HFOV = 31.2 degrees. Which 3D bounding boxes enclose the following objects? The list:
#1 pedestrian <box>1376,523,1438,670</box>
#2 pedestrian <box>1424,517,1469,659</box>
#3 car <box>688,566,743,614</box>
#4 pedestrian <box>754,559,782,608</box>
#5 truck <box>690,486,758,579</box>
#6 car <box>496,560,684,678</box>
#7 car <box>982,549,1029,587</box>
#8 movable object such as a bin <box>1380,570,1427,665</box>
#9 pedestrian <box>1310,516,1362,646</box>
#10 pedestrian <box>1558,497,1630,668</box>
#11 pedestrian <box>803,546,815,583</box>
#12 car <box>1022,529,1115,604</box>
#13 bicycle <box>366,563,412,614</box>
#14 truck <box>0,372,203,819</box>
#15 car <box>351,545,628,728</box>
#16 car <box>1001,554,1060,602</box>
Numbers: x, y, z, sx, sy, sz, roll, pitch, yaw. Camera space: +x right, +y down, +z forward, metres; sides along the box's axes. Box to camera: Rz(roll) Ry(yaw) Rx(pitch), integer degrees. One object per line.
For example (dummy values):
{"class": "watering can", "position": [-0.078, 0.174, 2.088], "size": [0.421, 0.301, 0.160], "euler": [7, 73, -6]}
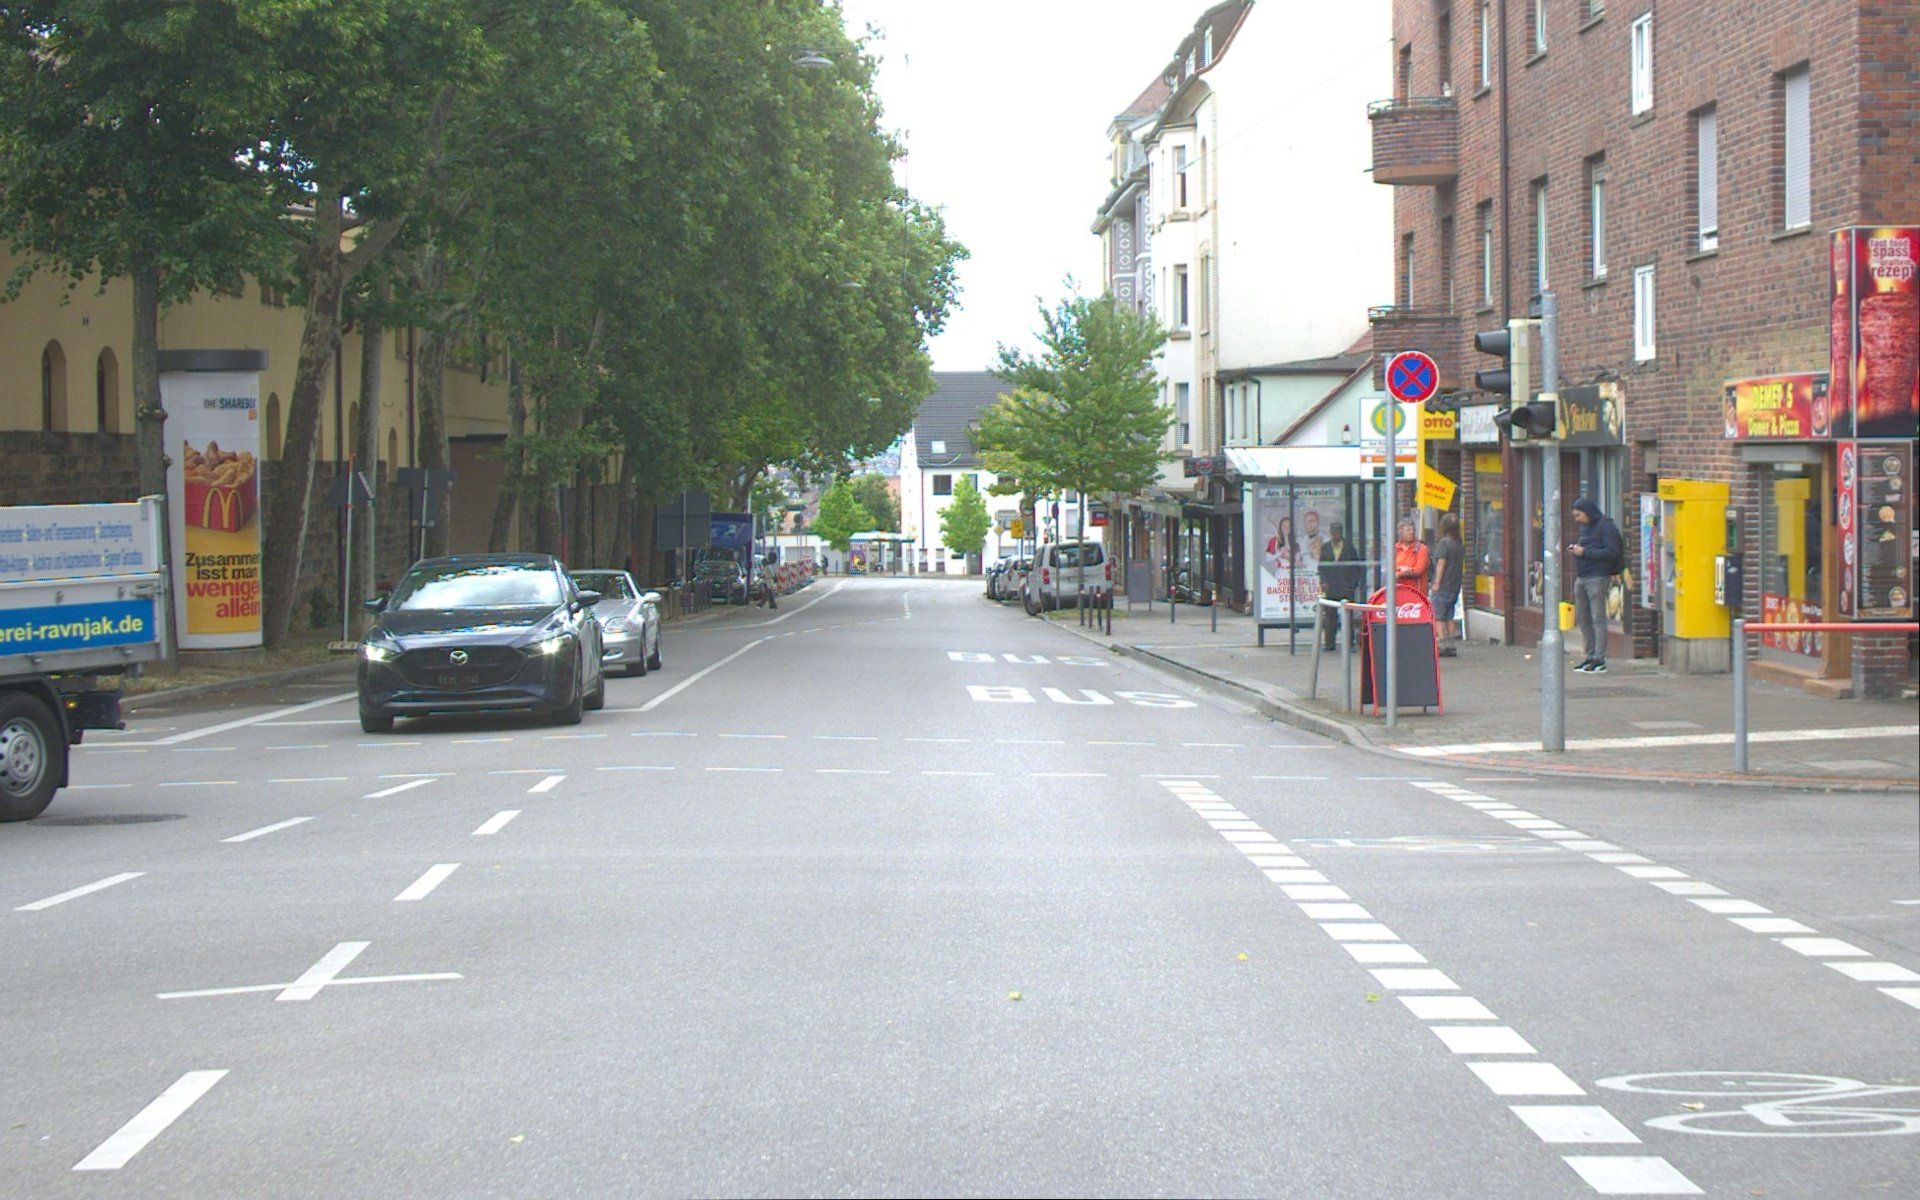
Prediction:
{"class": "pedestrian", "position": [5.012, -0.041, 38.524], "size": [0.565, 1.631, 0.680], "euler": [0, 1, 19]}
{"class": "pedestrian", "position": [6.021, -0.150, 42.573], "size": [0.479, 1.759, 0.458], "euler": [0, 0, -1]}
{"class": "car", "position": [-8.330, -0.359, 117.517], "size": [1.834, 1.572, 3.757], "euler": [0, 1, -4]}
{"class": "pedestrian", "position": [-6.043, -0.515, 108.138], "size": [0.672, 1.531, 0.611], "euler": [-1, 1, -32]}
{"class": "truck", "position": [-8.665, -2.473, 126.861], "size": [2.230, 3.335, 7.450], "euler": [0, 1, -2]}
{"class": "car", "position": [-4.381, 0.209, 41.236], "size": [1.685, 1.271, 4.095], "euler": [-3, 0, 1]}
{"class": "car", "position": [1.904, -1.356, 144.250], "size": [1.668, 1.542, 3.757], "euler": [0, 1, -4]}
{"class": "movable object such as a bin", "position": [4.926, 0.192, 38.177], "size": [0.453, 1.053, 0.410], "euler": [0, 1, 19]}
{"class": "pedestrian", "position": [5.041, -0.254, 46.066], "size": [0.670, 1.722, 0.763], "euler": [0, 1, 5]}
{"class": "pedestrian", "position": [6.561, -0.185, 35.593], "size": [0.647, 1.744, 0.778], "euler": [0, 1, 4]}
{"class": "pedestrian", "position": [-8.351, -1.965, 190.200], "size": [0.633, 2.007, 0.784], "euler": [0, 1, 1]}
{"class": "car", "position": [2.848, -0.901, 91.025], "size": [1.993, 1.929, 4.919], "euler": [0, 1, -4]}
{"class": "bicycle", "position": [-12.694, -0.267, 76.436], "size": [0.596, 1.087, 2.195], "euler": [2, 1, 1]}
{"class": "truck", "position": [-6.874, 0.034, 17.752], "size": [2.298, 2.419, 6.403], "euler": [-1, 1, 25]}
{"class": "car", "position": [-3.943, 0.259, 29.414], "size": [1.703, 1.409, 4.192], "euler": [-1, 1, 1]}
{"class": "car", "position": [2.337, -0.747, 114.472], "size": [1.668, 1.542, 3.757], "euler": [0, 1, -4]}
